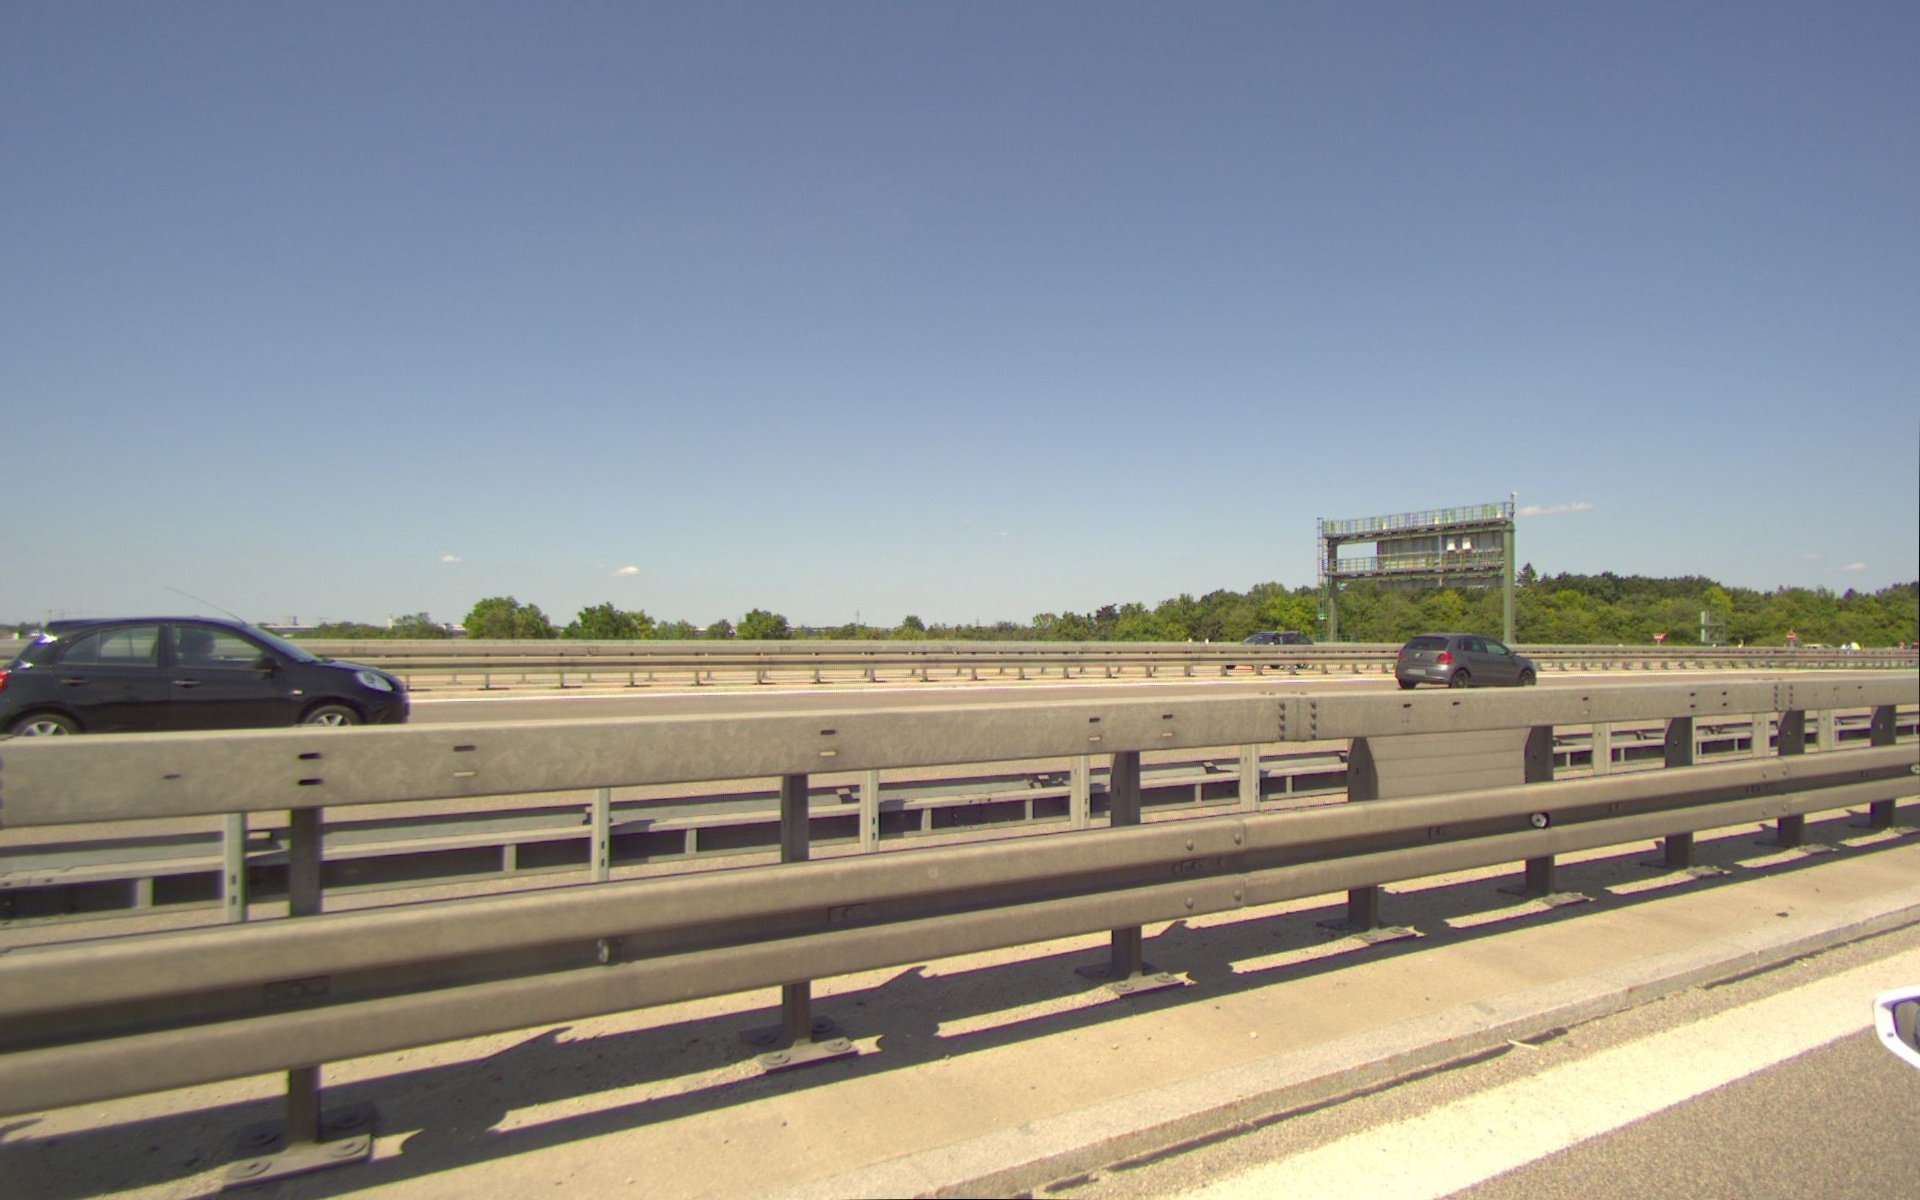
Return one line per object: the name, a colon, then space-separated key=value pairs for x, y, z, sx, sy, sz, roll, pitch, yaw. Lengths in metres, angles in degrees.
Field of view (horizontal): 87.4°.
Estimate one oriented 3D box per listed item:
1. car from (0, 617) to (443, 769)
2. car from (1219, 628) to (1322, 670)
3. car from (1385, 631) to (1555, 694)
car: x=-8.230 y=0.960 z=11.386 sx=4.165 sy=1.451 sz=1.822 roll=1 pitch=-1 yaw=-29
car: x=12.603 y=1.960 z=40.713 sx=3.952 sy=1.617 sz=1.771 roll=1 pitch=-1 yaw=-30
car: x=12.817 y=1.534 z=25.212 sx=4.164 sy=1.441 sz=1.755 roll=2 pitch=-1 yaw=-28
